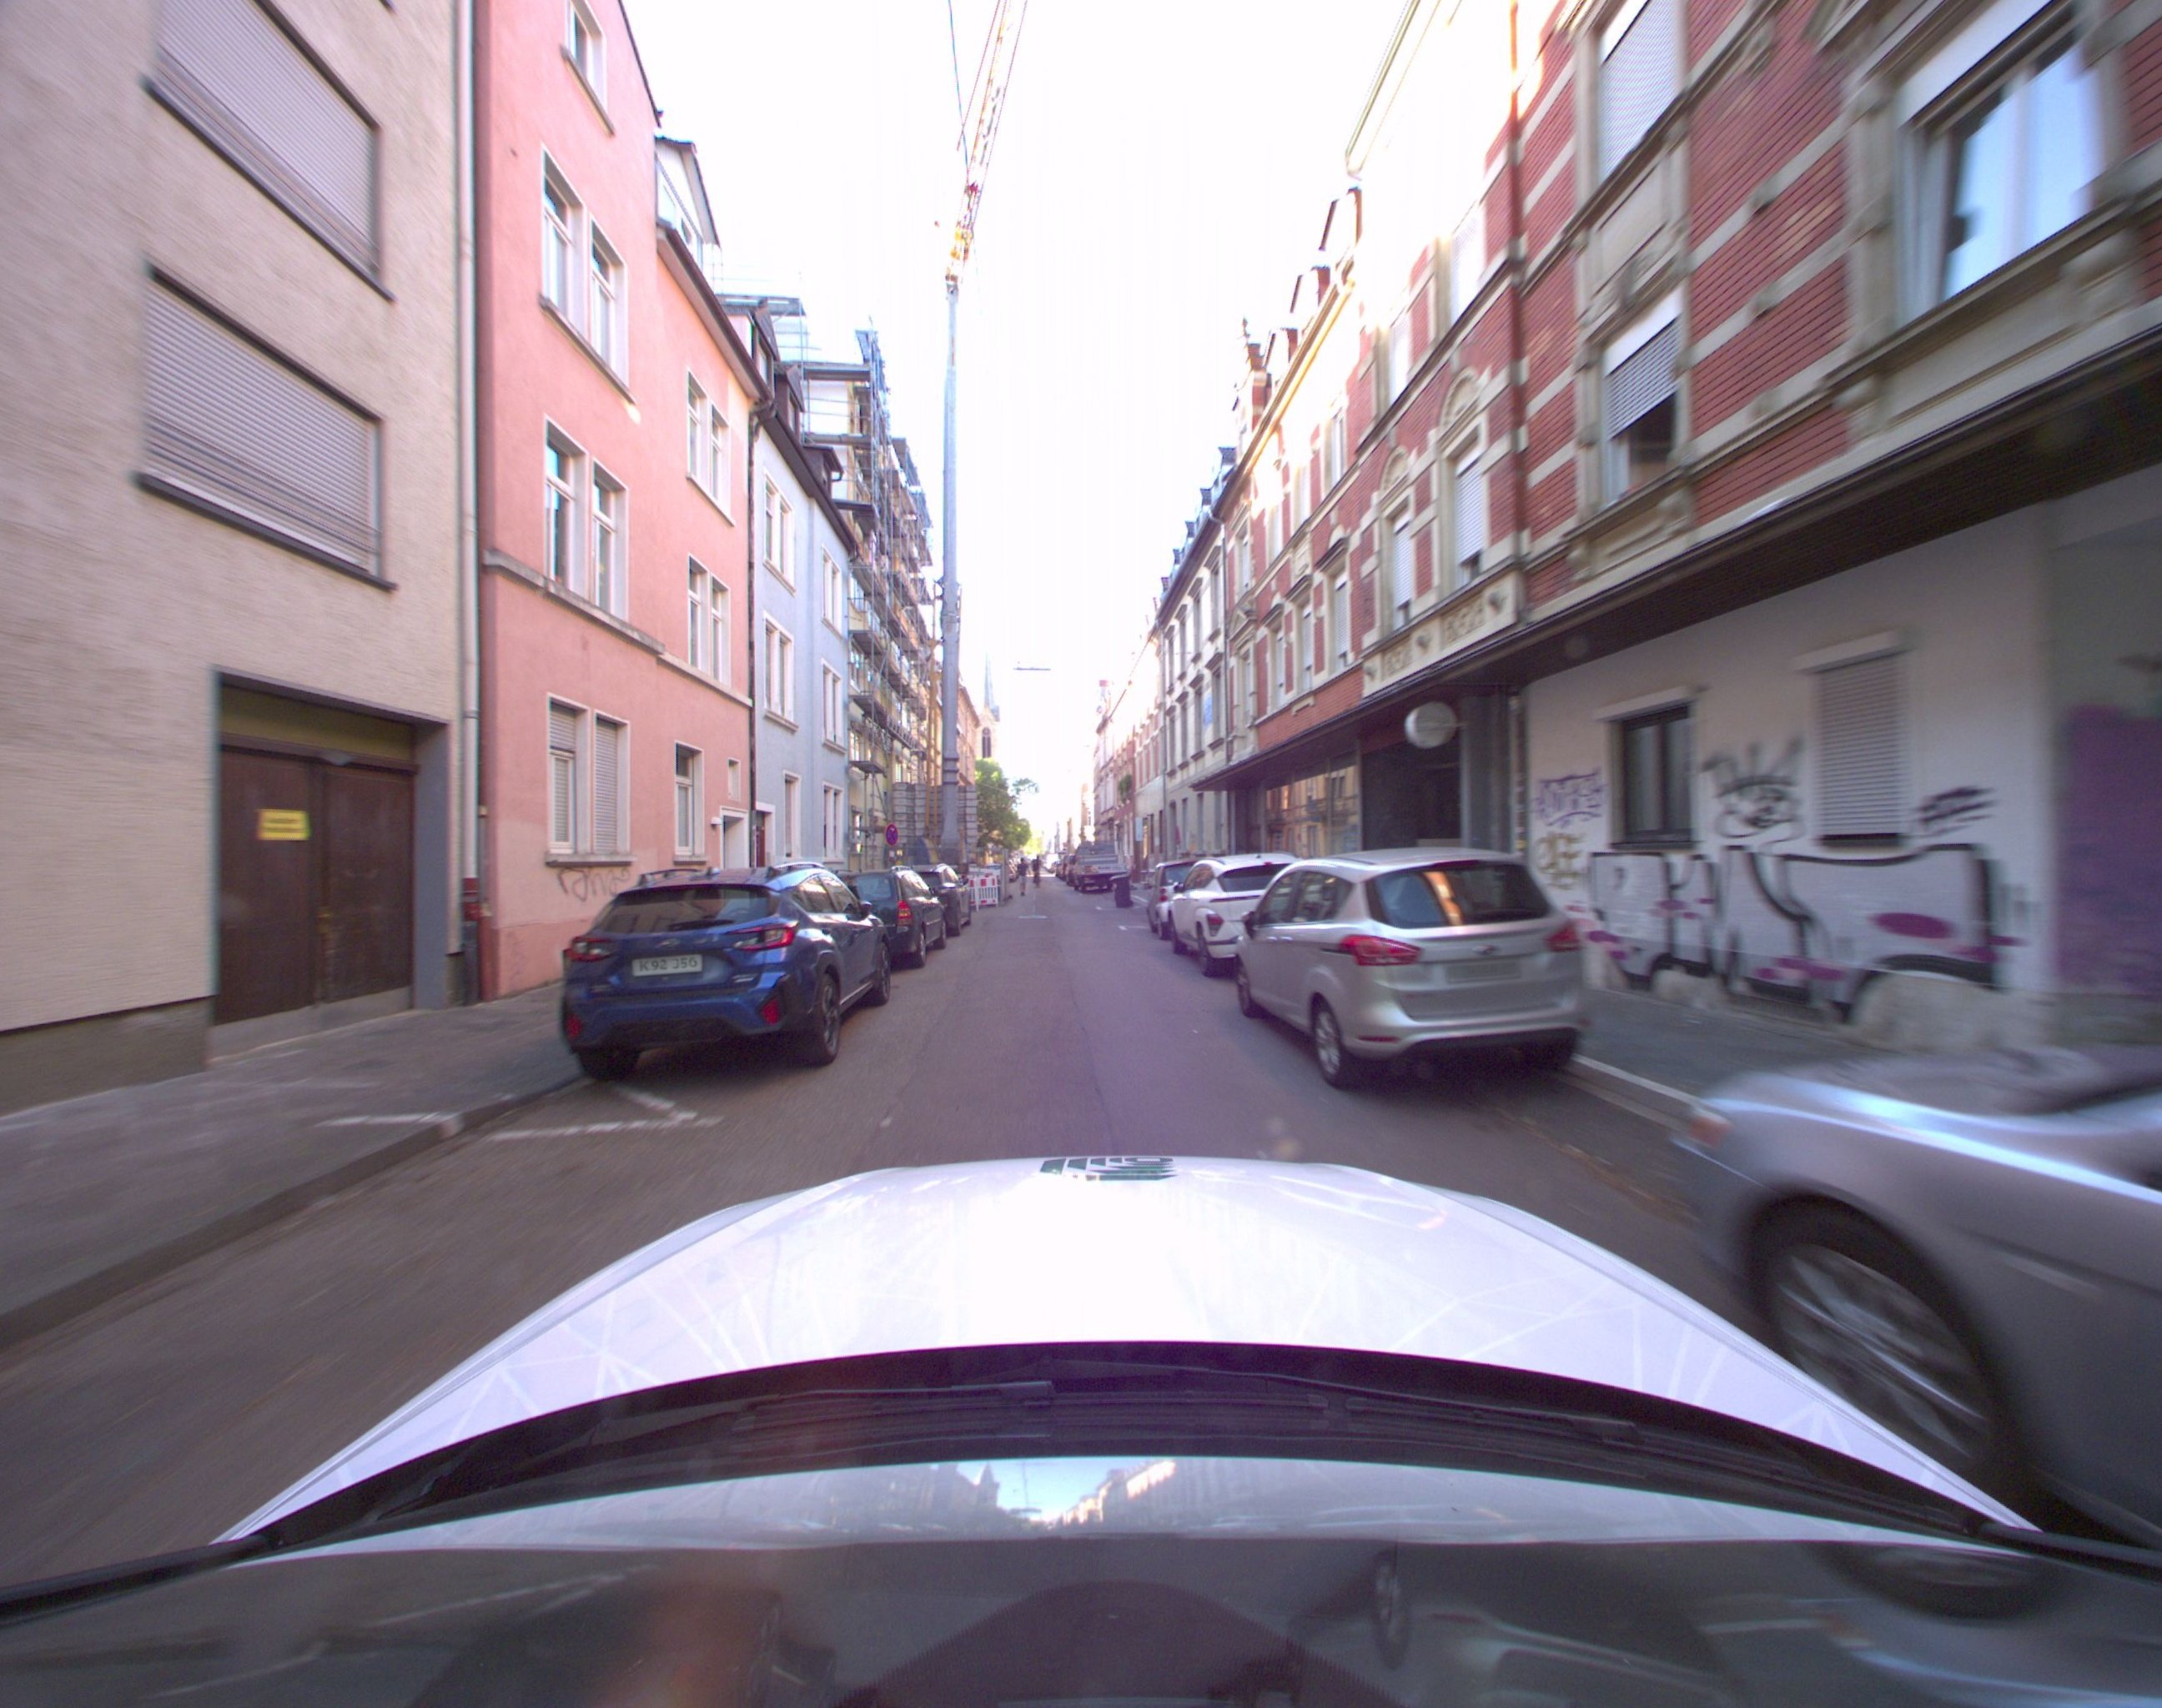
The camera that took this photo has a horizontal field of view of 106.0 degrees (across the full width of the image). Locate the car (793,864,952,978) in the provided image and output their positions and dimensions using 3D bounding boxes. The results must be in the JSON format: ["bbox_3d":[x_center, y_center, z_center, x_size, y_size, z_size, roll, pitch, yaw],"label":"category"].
[{"bbox_3d":[-3.192,0.930,13.322,1.671,1.512,4.409,-1,-1,-3],"label":"car"}]

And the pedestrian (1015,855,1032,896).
[{"bbox_3d":[-2.479,0.935,35.304,0.656,1.732,0.719,-3,-1,-4],"label":"pedestrian"}]

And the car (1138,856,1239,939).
[{"bbox_3d":[2.221,0.856,17.741,1.592,1.560,3.811,-1,0,-2],"label":"car"}]

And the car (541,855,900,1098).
[{"bbox_3d":[-2.890,0.838,7.652,1.727,1.540,4.369,-2,-1,-6],"label":"car"}]

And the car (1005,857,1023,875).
[{"bbox_3d":[-6.238,1.107,75.588,1.672,1.571,3.861,-1,-1,-6],"label":"car"}]

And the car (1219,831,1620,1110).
[{"bbox_3d":[2.381,0.717,6.859,1.636,1.656,3.865,-1,-1,-2],"label":"car"}]

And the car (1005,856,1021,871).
[{"bbox_3d":[-8.645,1.199,103.694,1.990,1.849,3.993,-2,0,-5],"label":"car"}]

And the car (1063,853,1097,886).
[{"bbox_3d":[-0.116,0.940,50.139,1.672,1.963,4.101,-1,-1,-5],"label":"car"}]

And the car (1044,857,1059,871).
[{"bbox_3d":[-4.167,1.333,114.136,1.990,1.849,3.993,-2,0,-5],"label":"car"}]

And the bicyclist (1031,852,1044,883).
[{"bbox_3d":[-2.455,0.758,46.336,0.728,1.761,0.834,0,0,-3],"label":"bicyclist"}]

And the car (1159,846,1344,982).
[{"bbox_3d":[2.367,0.775,12.448,1.742,1.675,4.336,-1,-1,-2],"label":"car"}]

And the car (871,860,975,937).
[{"bbox_3d":[-3.402,0.900,18.348,1.671,1.477,4.602,-1,-1,-3],"label":"car"}]

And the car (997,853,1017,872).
[{"bbox_3d":[-6.427,0.720,70.382,1.672,1.571,3.861,-1,-1,-6],"label":"car"}]

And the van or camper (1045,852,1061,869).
[{"bbox_3d":[-4.476,1.048,128.963,1.992,2.508,4.191,-2,0,-7],"label":"van or camper"}]

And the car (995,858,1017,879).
[{"bbox_3d":[-6.009,1.149,65.115,1.672,1.571,3.861,-1,-1,-6],"label":"car"}]

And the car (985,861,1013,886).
[{"bbox_3d":[-5.143,1.201,51.452,1.672,1.445,3.861,-1,-1,-6],"label":"car"}]

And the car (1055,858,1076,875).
[{"bbox_3d":[-1.466,1.148,76.058,1.672,1.571,3.861,-1,-1,-6],"label":"car"}]

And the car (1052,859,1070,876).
[{"bbox_3d":[-2.501,1.693,100.443,1.990,2.014,3.993,-1,0,-5],"label":"car"}]

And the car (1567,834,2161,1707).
[{"bbox_3d":[2.808,0.734,0.913,1.717,1.562,4.393,-1,0,-3],"label":"car"}]

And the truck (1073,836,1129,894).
[{"bbox_3d":[0.889,0.517,39.704,2.186,2.607,5.226,-2,0,-4],"label":"truck"}]

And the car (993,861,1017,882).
[{"bbox_3d":[-5.595,1.262,60.246,1.672,1.445,3.861,-1,-1,-6],"label":"car"}]

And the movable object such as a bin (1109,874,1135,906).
[{"bbox_3d":[1.378,1.216,27.497,0.793,1.056,0.659,-1,-1,-4],"label":"movable object such as a bin"}]

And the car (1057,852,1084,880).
[{"bbox_3d":[-0.831,0.929,62.598,1.672,2.031,3.861,-1,-1,-6],"label":"car"}]

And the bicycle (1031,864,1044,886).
[{"bbox_3d":[-2.466,1.206,46.402,0.723,1.186,2.040,0,0,-3],"label":"bicycle"}]
